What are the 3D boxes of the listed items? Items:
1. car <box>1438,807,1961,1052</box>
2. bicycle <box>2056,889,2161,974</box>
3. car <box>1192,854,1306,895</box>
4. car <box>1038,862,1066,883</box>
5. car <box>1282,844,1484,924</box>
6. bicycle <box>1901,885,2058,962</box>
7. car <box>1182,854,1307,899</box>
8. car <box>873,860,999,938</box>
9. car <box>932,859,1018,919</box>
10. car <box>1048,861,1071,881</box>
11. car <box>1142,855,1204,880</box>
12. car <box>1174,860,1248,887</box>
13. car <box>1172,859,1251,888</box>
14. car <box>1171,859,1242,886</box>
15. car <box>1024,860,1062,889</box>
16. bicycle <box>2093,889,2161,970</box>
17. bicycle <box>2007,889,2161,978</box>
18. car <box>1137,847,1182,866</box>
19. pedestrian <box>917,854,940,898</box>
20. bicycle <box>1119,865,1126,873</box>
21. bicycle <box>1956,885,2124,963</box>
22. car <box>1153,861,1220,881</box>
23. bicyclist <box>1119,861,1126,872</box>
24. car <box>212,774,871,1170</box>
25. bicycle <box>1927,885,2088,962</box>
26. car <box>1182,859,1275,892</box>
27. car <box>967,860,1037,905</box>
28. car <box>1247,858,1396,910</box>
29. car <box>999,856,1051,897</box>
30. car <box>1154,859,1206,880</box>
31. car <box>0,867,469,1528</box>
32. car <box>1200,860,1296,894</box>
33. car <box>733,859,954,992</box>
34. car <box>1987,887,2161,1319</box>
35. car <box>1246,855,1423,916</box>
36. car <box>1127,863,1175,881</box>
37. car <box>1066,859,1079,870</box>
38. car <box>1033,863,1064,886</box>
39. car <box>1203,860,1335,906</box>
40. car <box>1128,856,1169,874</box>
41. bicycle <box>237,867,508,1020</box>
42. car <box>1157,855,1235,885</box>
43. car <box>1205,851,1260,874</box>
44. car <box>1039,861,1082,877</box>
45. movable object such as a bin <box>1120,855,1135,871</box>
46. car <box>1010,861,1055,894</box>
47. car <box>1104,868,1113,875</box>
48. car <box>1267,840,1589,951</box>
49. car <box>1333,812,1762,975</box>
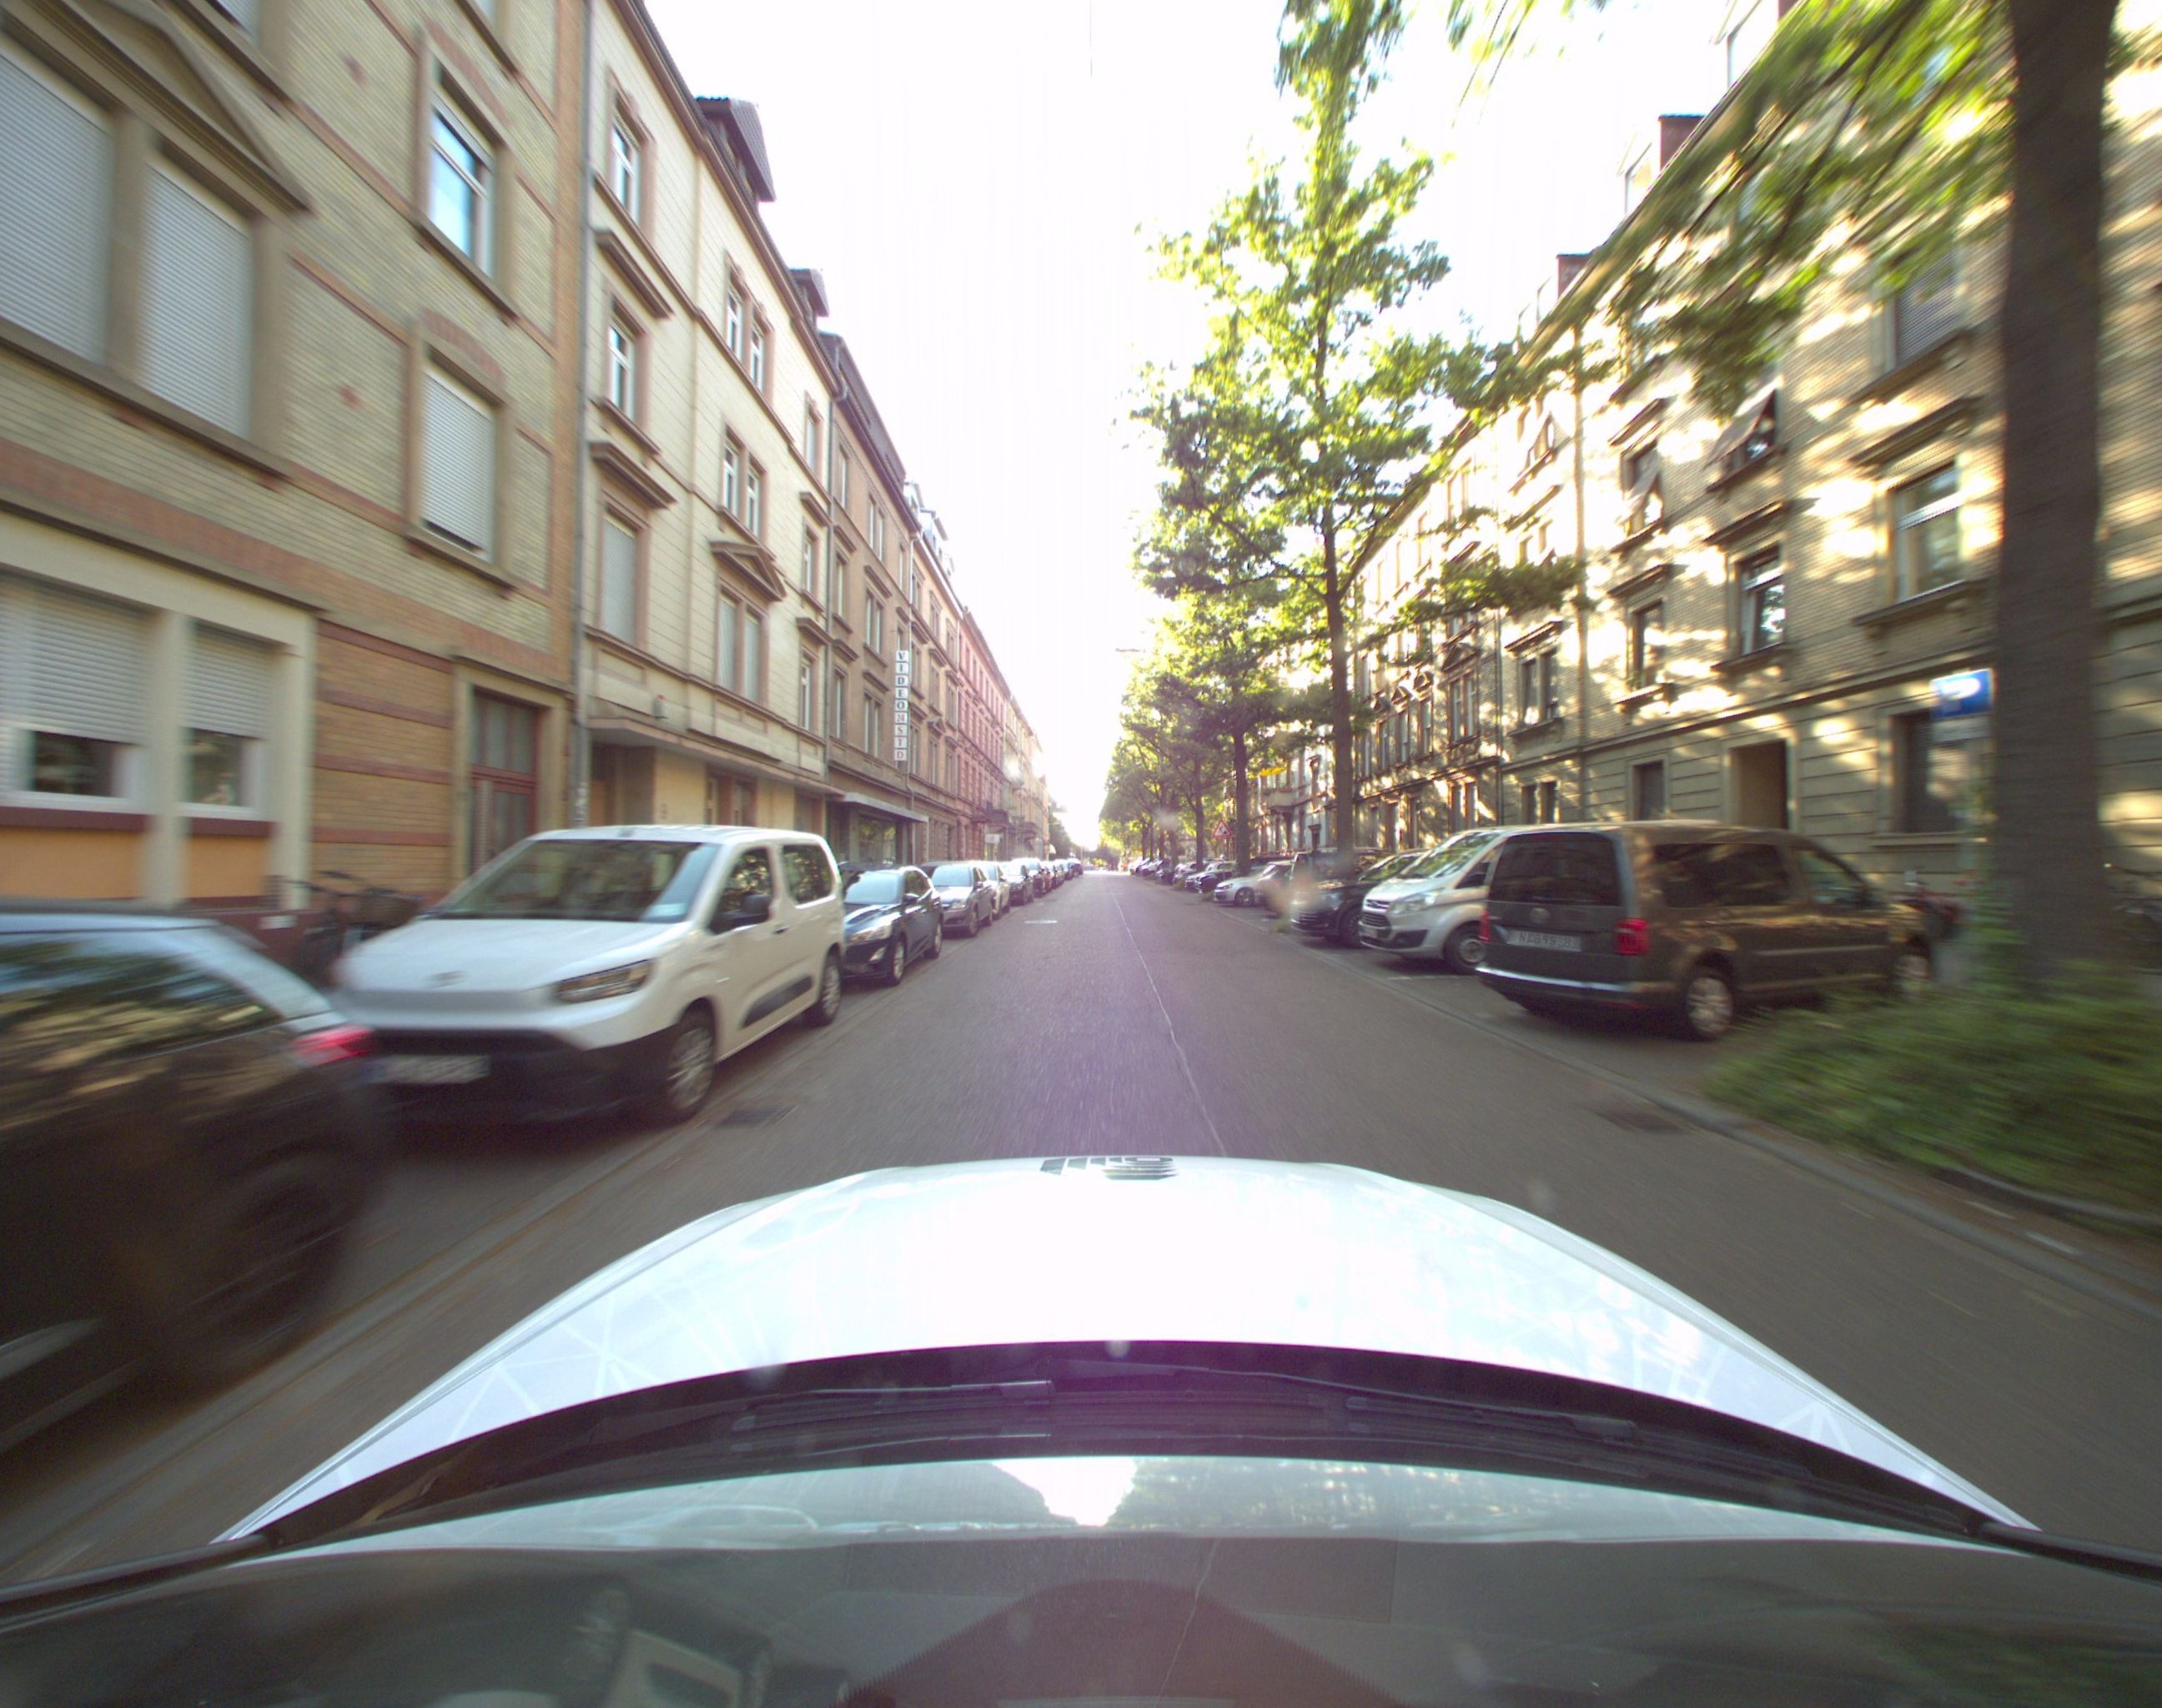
[{"bbox_3d":[6.055,0.545,8.002,4.680,1.890,1.895,-1,0,-21],"label":"car"},{"bbox_3d":[11.481,0.831,8.677,0.341,0.855,1.581,0,-1,2],"label":"bicycle"},{"bbox_3d":[7.039,0.895,34.460,4.462,1.656,1.891,0,-2,-1],"label":"car"},{"bbox_3d":[-1.948,1.243,55.780,1.699,1.439,3.960,0,-1,1],"label":"car"},{"bbox_3d":[6.993,0.672,19.212,4.108,1.788,1.946,0,-1,3],"label":"car"},{"bbox_3d":[11.346,0.845,10.352,0.305,0.855,1.581,0,-1,2],"label":"bicycle"},{"bbox_3d":[6.183,0.861,31.188,4.457,1.656,1.892,0,-2,2],"label":"car"},{"bbox_3d":[-2.927,0.858,17.408,1.880,1.444,4.541,0,-1,0],"label":"car"},{"bbox_3d":[-2.763,0.884,22.045,1.751,1.472,4.088,0,0,0],"label":"car"},{"bbox_3d":[-1.621,1.278,62.822,1.576,1.473,4.000,0,-1,1],"label":"car"},{"bbox_3d":[7.771,1.175,69.117,5.073,1.940,2.158,0,-4,1],"label":"car"},{"bbox_3d":[7.434,1.109,46.900,3.977,1.462,1.781,0,-1,-3],"label":"car"},{"bbox_3d":[7.029,1.045,44.193,3.974,1.388,1.678,-3,-1,0],"label":"car"},{"bbox_3d":[7.591,1.099,49.496,3.977,1.590,1.781,0,-1,-3],"label":"car"},{"bbox_3d":[-2.112,1.131,46.226,1.814,1.477,4.424,2,-1,1],"label":"car"},{"bbox_3d":[11.842,0.829,8.637,0.305,0.855,1.581,0,-1,2],"label":"bicycle"},{"bbox_3d":[11.142,0.834,8.882,0.341,0.855,1.581,0,-1,2],"label":"bicycle"},{"bbox_3d":[8.323,0.304,86.707,4.602,2.014,1.999,0,-1,-2],"label":"car"},{"bbox_3d":[-5.847,0.829,31.243,0.693,1.631,1.018,0,-1,0],"label":"pedestrian"},{"bbox_3d":[5.178,1.891,102.069,0.800,0.968,2.108,1,-1,1],"label":"bicycle"},{"bbox_3d":[12.004,0.843,10.260,0.305,0.855,1.581,0,-1,2],"label":"bicycle"},{"bbox_3d":[7.746,1.245,59.898,4.647,1.503,1.930,0,-1,-3],"label":"car"},{"bbox_3d":[5.165,1.543,102.052,0.800,1.383,0.985,1,-1,0],"label":"bicyclist"},{"bbox_3d":[-3.135,0.576,6.149,1.836,1.833,4.606,1,-1,0],"label":"car"},{"bbox_3d":[11.676,0.844,10.332,0.305,0.855,1.581,0,-1,2],"label":"bicycle"},{"bbox_3d":[7.174,1.021,39.809,4.211,1.536,1.800,0,0,-2],"label":"car"},{"bbox_3d":[-2.669,0.938,28.537,1.855,1.472,4.491,0,0,2],"label":"car"},{"bbox_3d":[7.119,0.870,24.353,3.976,1.495,1.686,0,-1,-2],"label":"car"},{"bbox_3d":[-2.362,0.918,35.140,1.814,1.600,4.314,2,-1,1],"label":"car"},{"bbox_3d":[7.842,1.215,64.569,3.876,1.649,1.722,0,-1,-4],"label":"car"},{"bbox_3d":[-3.191,0.761,1.210,1.631,1.421,3.824,1,-1,0],"label":"car"},{"bbox_3d":[7.565,1.030,37.138,4.084,1.470,1.802,0,0,2],"label":"car"},{"bbox_3d":[-2.982,0.816,11.215,1.741,1.473,4.244,0,-1,1],"label":"car"},{"bbox_3d":[5.676,0.754,2.096,4.440,1.368,1.904,-2,-1,2],"label":"car"},{"bbox_3d":[6.702,0.824,21.868,4.131,1.455,1.936,-2,-1,0],"label":"car"},{"bbox_3d":[6.219,1.598,72.846,3.983,1.475,1.778,-1,-1,-7],"label":"car"},{"bbox_3d":[-1.084,1.330,106.570,1.759,1.437,4.299,0,-1,0],"label":"car"},{"bbox_3d":[-2.013,1.261,51.101,1.699,1.323,4.102,0,-1,1],"label":"car"},{"bbox_3d":[6.077,0.920,26.649,3.972,1.456,1.688,0,-1,1],"label":"car"},{"bbox_3d":[8.224,1.365,99.471,4.956,2.096,2.106,0,-1,1],"label":"car"},{"bbox_3d":[-7.017,0.788,8.326,0.627,1.280,2.664,0,-1,-5],"label":"bicycle"},{"bbox_3d":[7.290,1.011,51.805,4.633,1.702,1.880,-2,-1,-3],"label":"car"},{"bbox_3d":[17.546,0.966,94.626,5.885,2.537,2.376,1,-1,-5],"label":"car"},{"bbox_3d":[-1.998,1.461,78.328,3.980,1.530,1.823,0,-1,-5],"label":"car"},{"bbox_3d":[8.061,1.513,139.669,1.979,2.700,3.122,0,-1,14],"label":"movable object such as a bin"},{"bbox_3d":[-2.318,1.101,39.680,1.814,1.426,4.314,2,-1,1],"label":"car"},{"bbox_3d":[5.791,3.675,171.656,1.743,1.509,4.000,0,-1,1],"label":"car"},{"bbox_3d":[6.086,0.699,14.710,4.907,1.632,2.076,-3,-1,-3],"label":"car"},{"bbox_3d":[6.449,0.513,11.708,4.907,1.901,2.174,-2,-1,-3],"label":"car"}]
